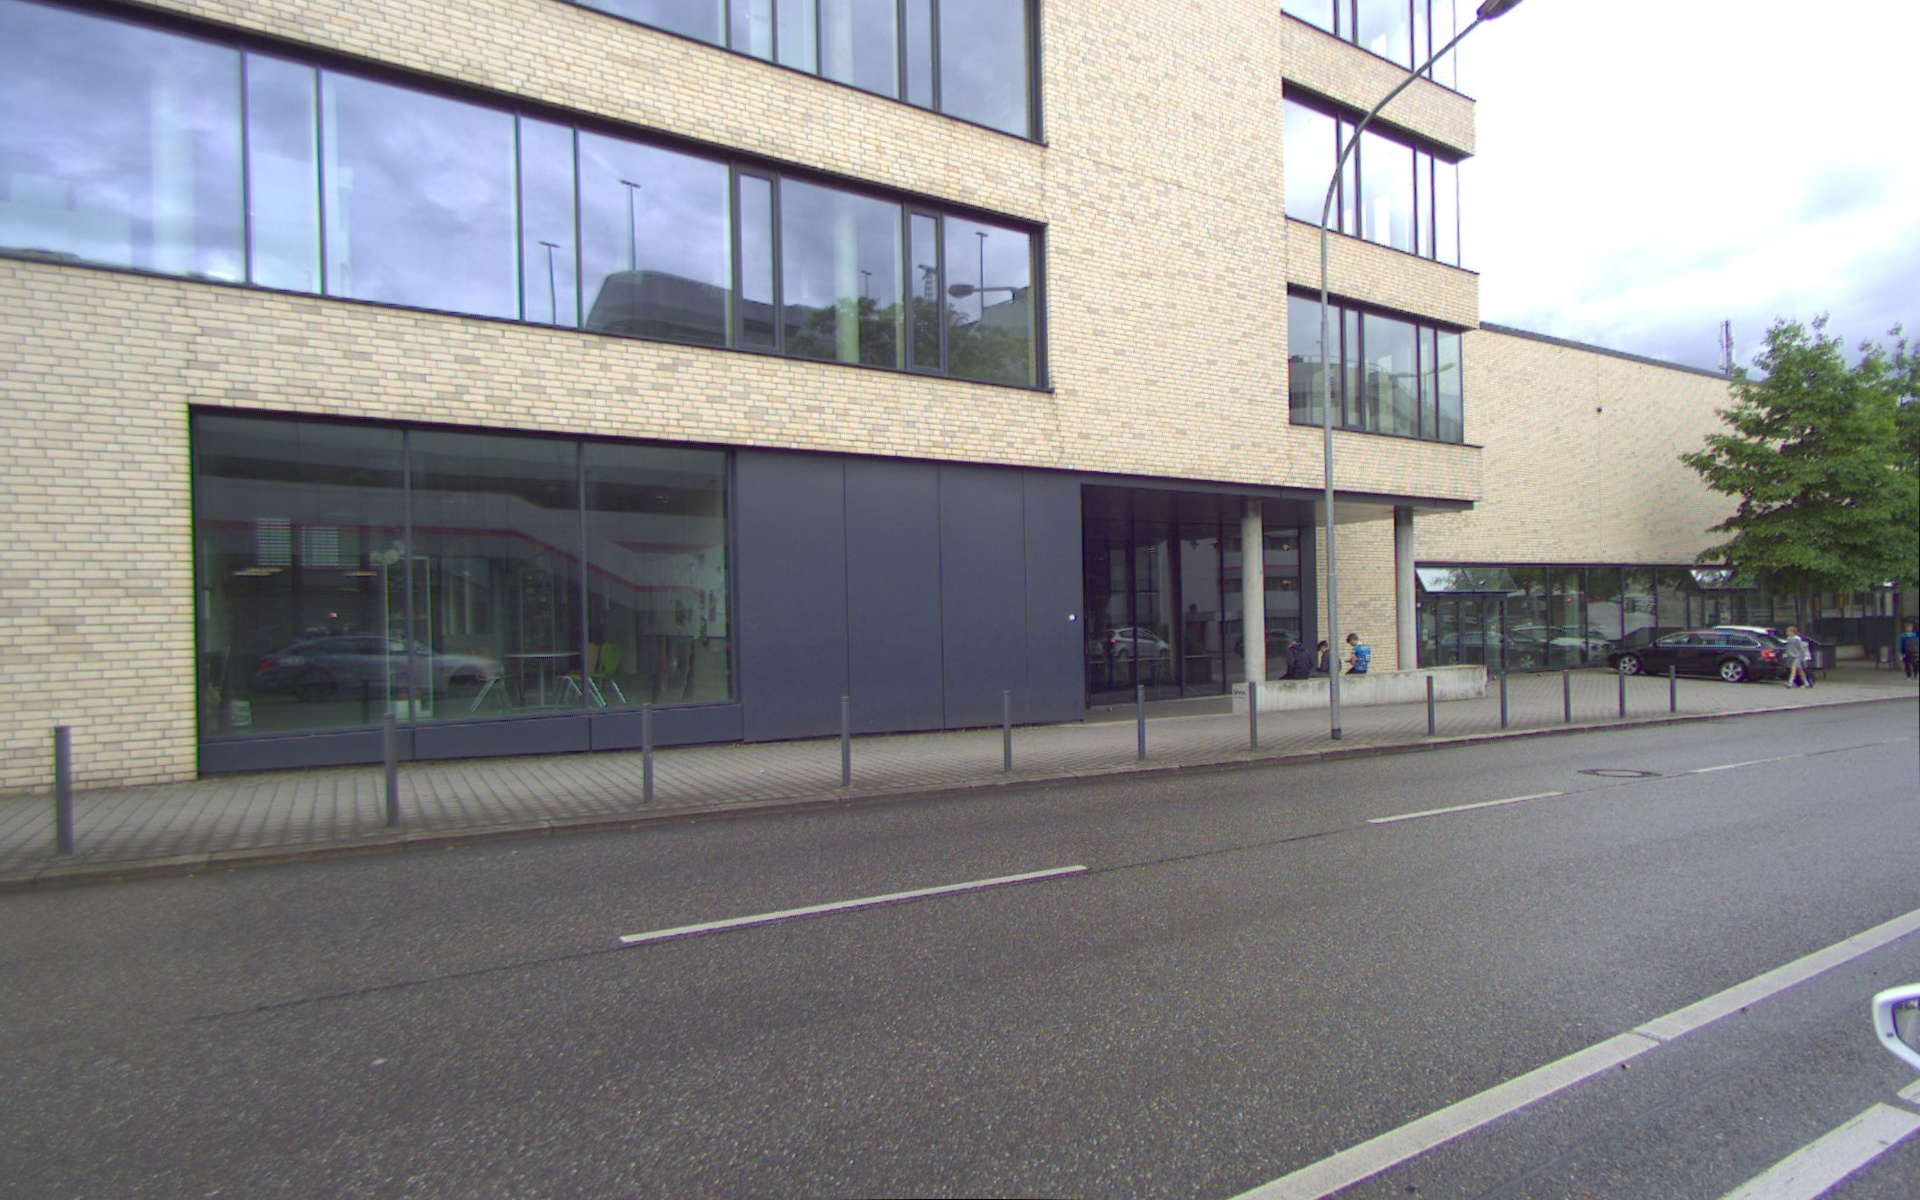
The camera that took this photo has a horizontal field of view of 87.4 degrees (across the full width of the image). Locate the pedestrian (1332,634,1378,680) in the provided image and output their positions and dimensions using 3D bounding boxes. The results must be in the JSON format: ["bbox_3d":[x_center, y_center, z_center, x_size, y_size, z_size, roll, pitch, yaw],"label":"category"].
[{"bbox_3d":[8.104,1.170,20.605,0.519,0.897,0.677,2,0,-33],"label":"pedestrian"}]

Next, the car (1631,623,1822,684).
[{"bbox_3d":[23.738,1.584,31.262,1.981,1.595,4.385,-1,1,-36],"label":"car"}]

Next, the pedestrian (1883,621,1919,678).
[{"bbox_3d":[30.387,1.591,32.396,0.746,1.748,0.685,4,-1,-31],"label":"pedestrian"}]

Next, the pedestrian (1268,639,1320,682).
[{"bbox_3d":[6.478,1.169,19.461,0.751,0.796,0.595,2,0,-30],"label":"pedestrian"}]

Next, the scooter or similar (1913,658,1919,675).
[{"bbox_3d":[31.214,2.171,32.552,0.493,0.543,0.358,3,-1,-31],"label":"scooter or similar"}]

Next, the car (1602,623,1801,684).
[{"bbox_3d":[22.034,1.531,30.010,1.981,1.608,4.437,1,-1,-36],"label":"car"}]

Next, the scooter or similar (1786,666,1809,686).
[{"bbox_3d":[22.763,2.060,27.293,0.609,0.507,0.278,2,0,-31],"label":"scooter or similar"}]

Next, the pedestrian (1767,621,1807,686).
[{"bbox_3d":[22.375,1.436,27.182,0.473,1.720,0.672,0,1,-30],"label":"pedestrian"}]

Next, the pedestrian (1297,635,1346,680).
[{"bbox_3d":[7.129,1.133,19.821,0.719,0.856,0.583,2,-1,-30],"label":"pedestrian"}]
